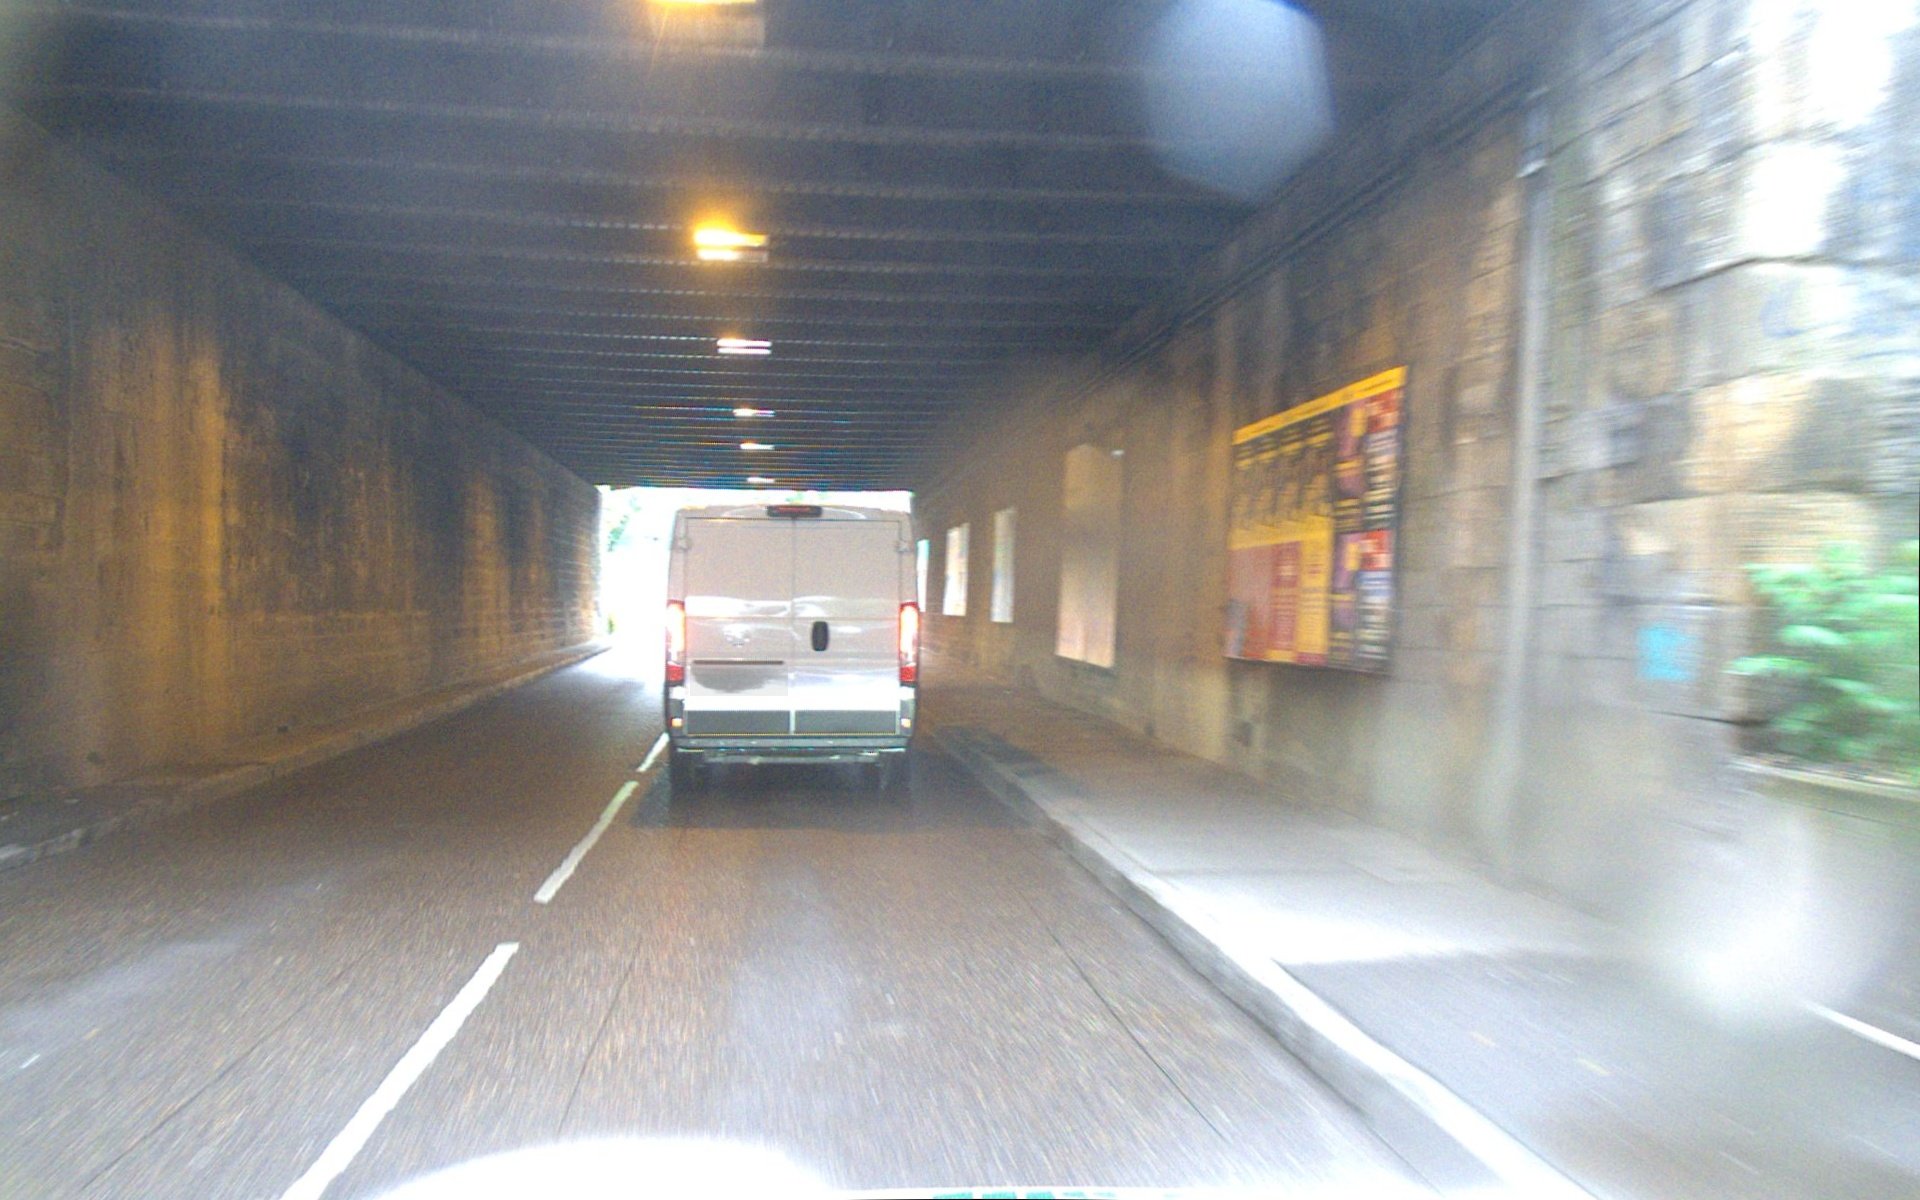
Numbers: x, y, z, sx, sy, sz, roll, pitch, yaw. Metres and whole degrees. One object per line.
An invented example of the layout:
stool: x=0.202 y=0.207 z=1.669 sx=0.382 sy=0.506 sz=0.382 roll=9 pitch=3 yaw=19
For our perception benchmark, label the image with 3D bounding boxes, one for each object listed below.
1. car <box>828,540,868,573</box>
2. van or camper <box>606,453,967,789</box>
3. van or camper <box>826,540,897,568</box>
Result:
car: x=-7.189 y=-2.756 z=105.753 sx=1.959 sy=1.981 sz=3.987 roll=1 pitch=1 yaw=-13
van or camper: x=-1.541 y=0.223 z=14.727 sx=2.647 sy=2.459 sz=4.895 roll=1 pitch=-1 yaw=-7
van or camper: x=-7.418 y=-3.456 z=125.056 sx=5.200 sy=2.049 sz=2.078 roll=1 pitch=0 yaw=-1
